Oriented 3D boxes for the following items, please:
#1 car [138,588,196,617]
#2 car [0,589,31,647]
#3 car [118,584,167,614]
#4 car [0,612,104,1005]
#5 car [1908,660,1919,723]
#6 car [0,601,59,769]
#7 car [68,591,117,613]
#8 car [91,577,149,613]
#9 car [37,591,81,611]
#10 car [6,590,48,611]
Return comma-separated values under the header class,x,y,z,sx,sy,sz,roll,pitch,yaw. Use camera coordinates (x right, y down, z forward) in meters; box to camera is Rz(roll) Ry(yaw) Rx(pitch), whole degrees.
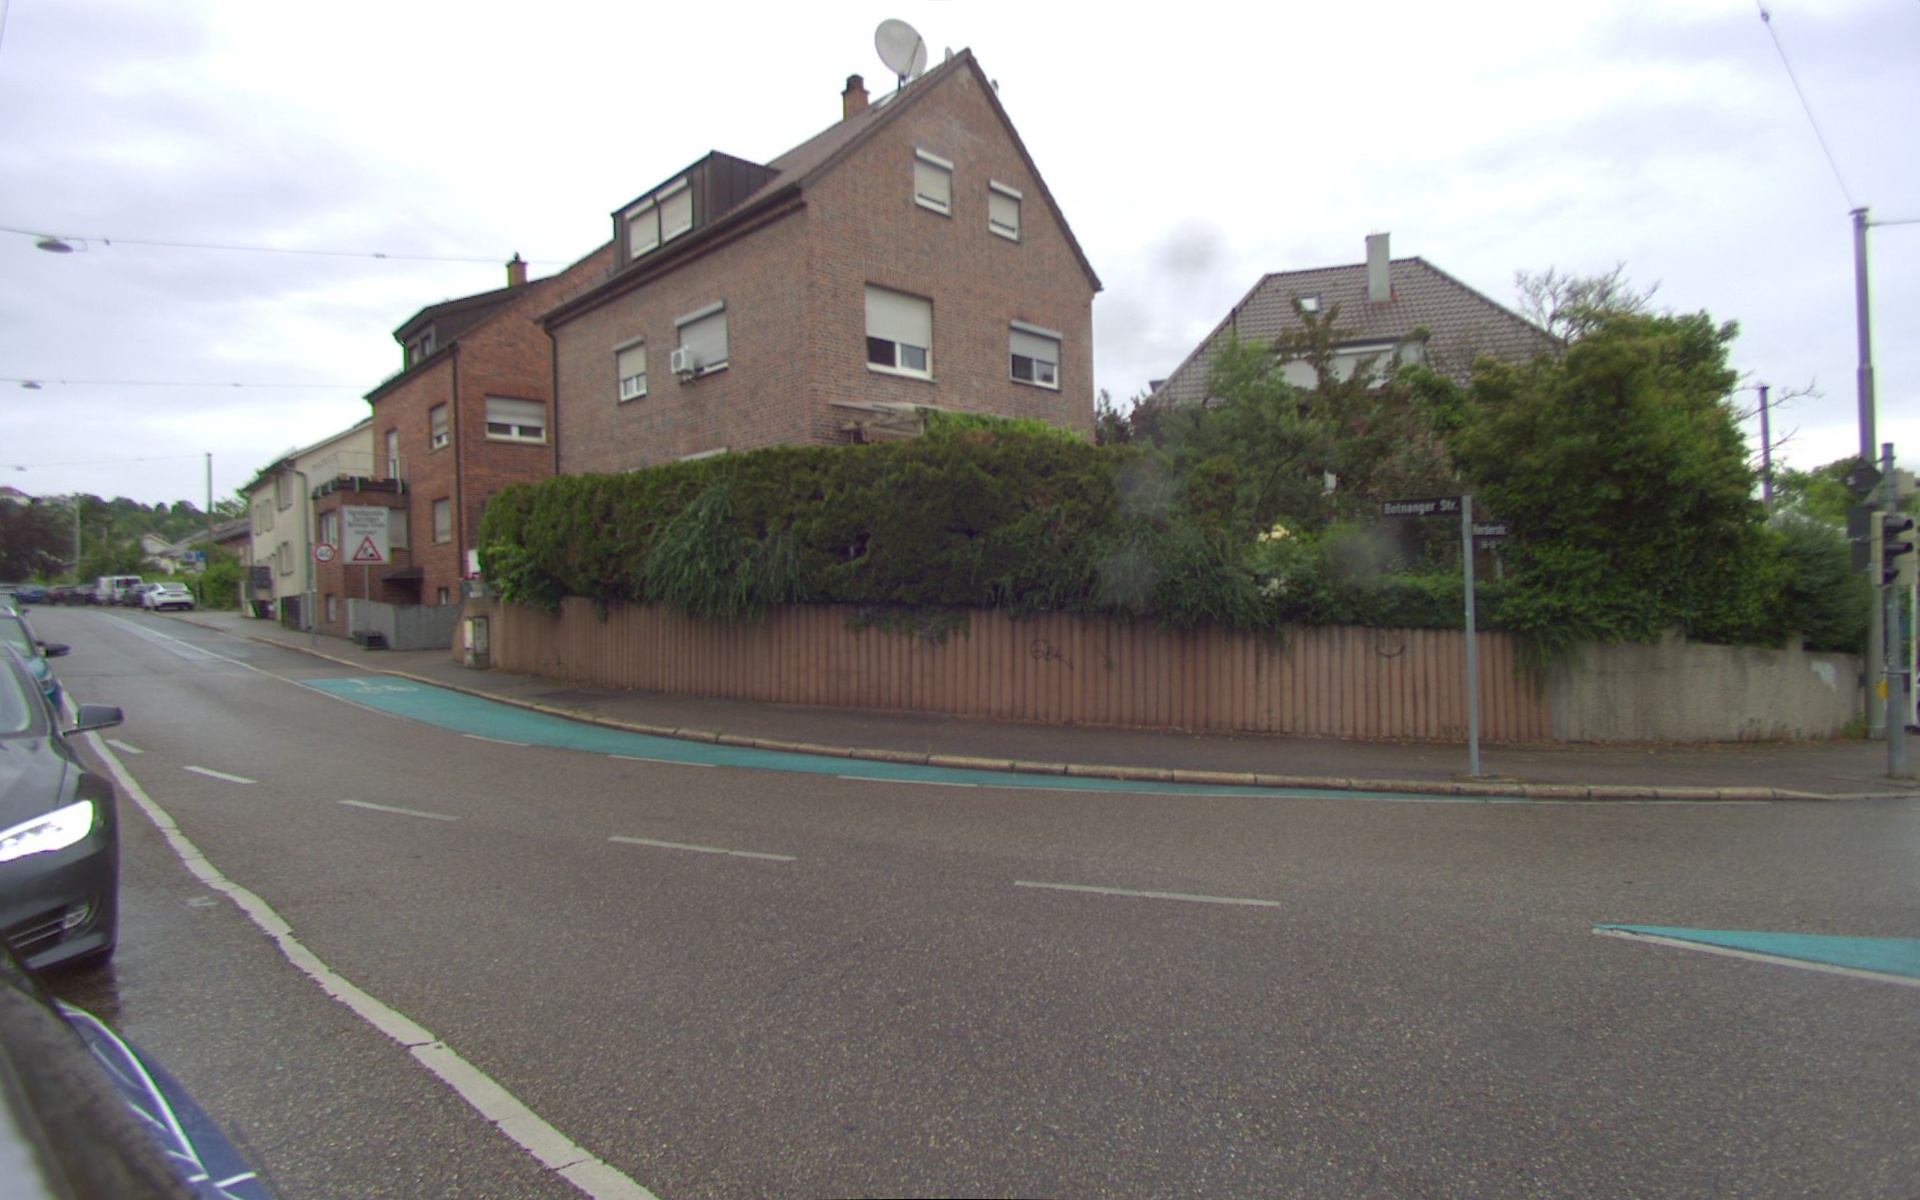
class,x,y,z,sx,sy,sz,roll,pitch,yaw
car,-46.410,0.133,59.190,4.262,1.577,1.921,0,2,42
car,-30.415,0.603,31.647,4.001,1.744,1.792,-3,-2,44
car,-52.356,-0.042,64.788,4.262,1.817,1.791,0,2,42
car,-5.425,0.796,4.732,4.002,1.426,1.845,0,0,45
car,25.726,2.286,24.589,1.837,1.644,4.297,-1,-3,11
car,-10.867,0.820,10.718,3.785,1.601,1.765,0,0,45
car,-61.451,0.129,71.670,4.002,1.501,1.636,-1,2,34
car,-56.999,-0.354,68.648,4.544,2.303,2.229,0,2,41
car,-66.521,0.054,74.734,3.854,1.407,1.634,-1,2,36
car,-71.333,0.045,77.376,3.895,1.501,1.605,-1,2,36
